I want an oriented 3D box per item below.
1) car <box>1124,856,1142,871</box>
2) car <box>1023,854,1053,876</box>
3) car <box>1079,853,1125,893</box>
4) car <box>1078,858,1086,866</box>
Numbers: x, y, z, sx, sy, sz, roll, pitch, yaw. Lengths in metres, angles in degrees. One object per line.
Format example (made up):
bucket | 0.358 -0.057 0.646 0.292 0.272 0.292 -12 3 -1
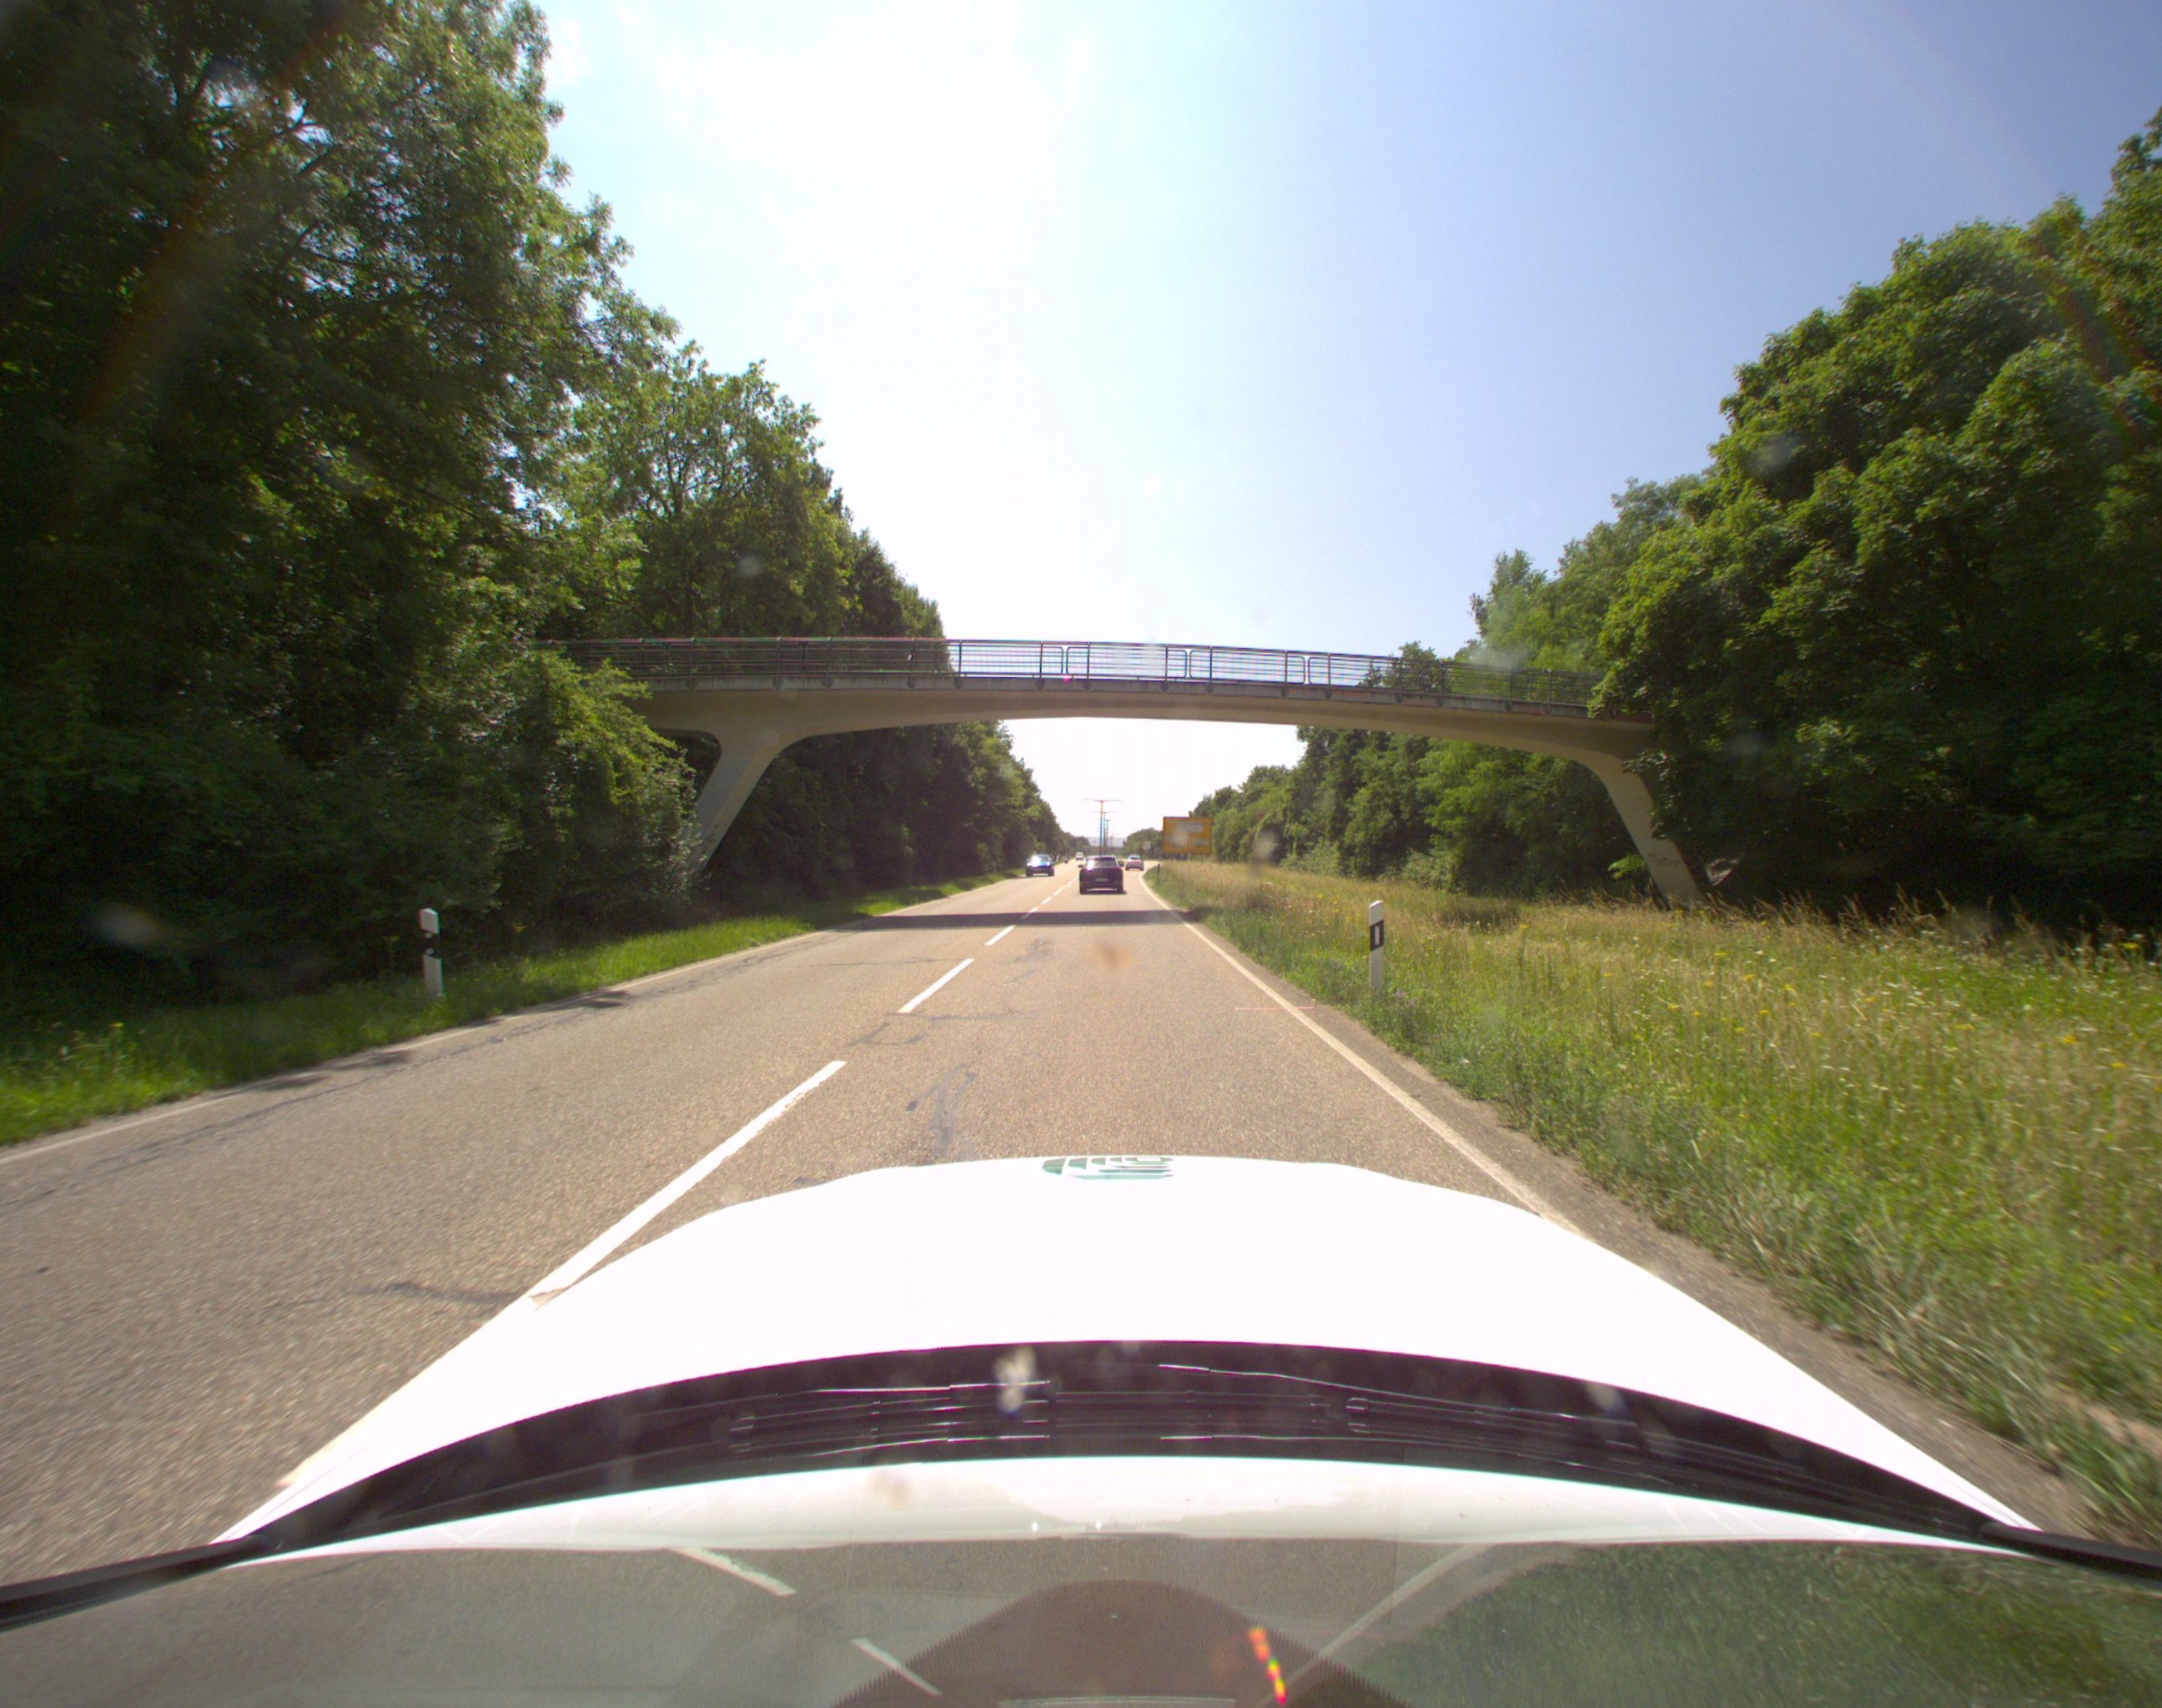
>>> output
car | 5.422 0.980 84.306 1.789 1.583 4.004 -1 0 4
car | -3.225 0.826 61.598 1.816 1.590 4.421 -1 0 2
car | 0.819 0.773 33.970 1.750 1.556 3.998 1 -1 -1
car | 0.208 1.770 184.877 1.725 1.688 4.096 -1 0 1
